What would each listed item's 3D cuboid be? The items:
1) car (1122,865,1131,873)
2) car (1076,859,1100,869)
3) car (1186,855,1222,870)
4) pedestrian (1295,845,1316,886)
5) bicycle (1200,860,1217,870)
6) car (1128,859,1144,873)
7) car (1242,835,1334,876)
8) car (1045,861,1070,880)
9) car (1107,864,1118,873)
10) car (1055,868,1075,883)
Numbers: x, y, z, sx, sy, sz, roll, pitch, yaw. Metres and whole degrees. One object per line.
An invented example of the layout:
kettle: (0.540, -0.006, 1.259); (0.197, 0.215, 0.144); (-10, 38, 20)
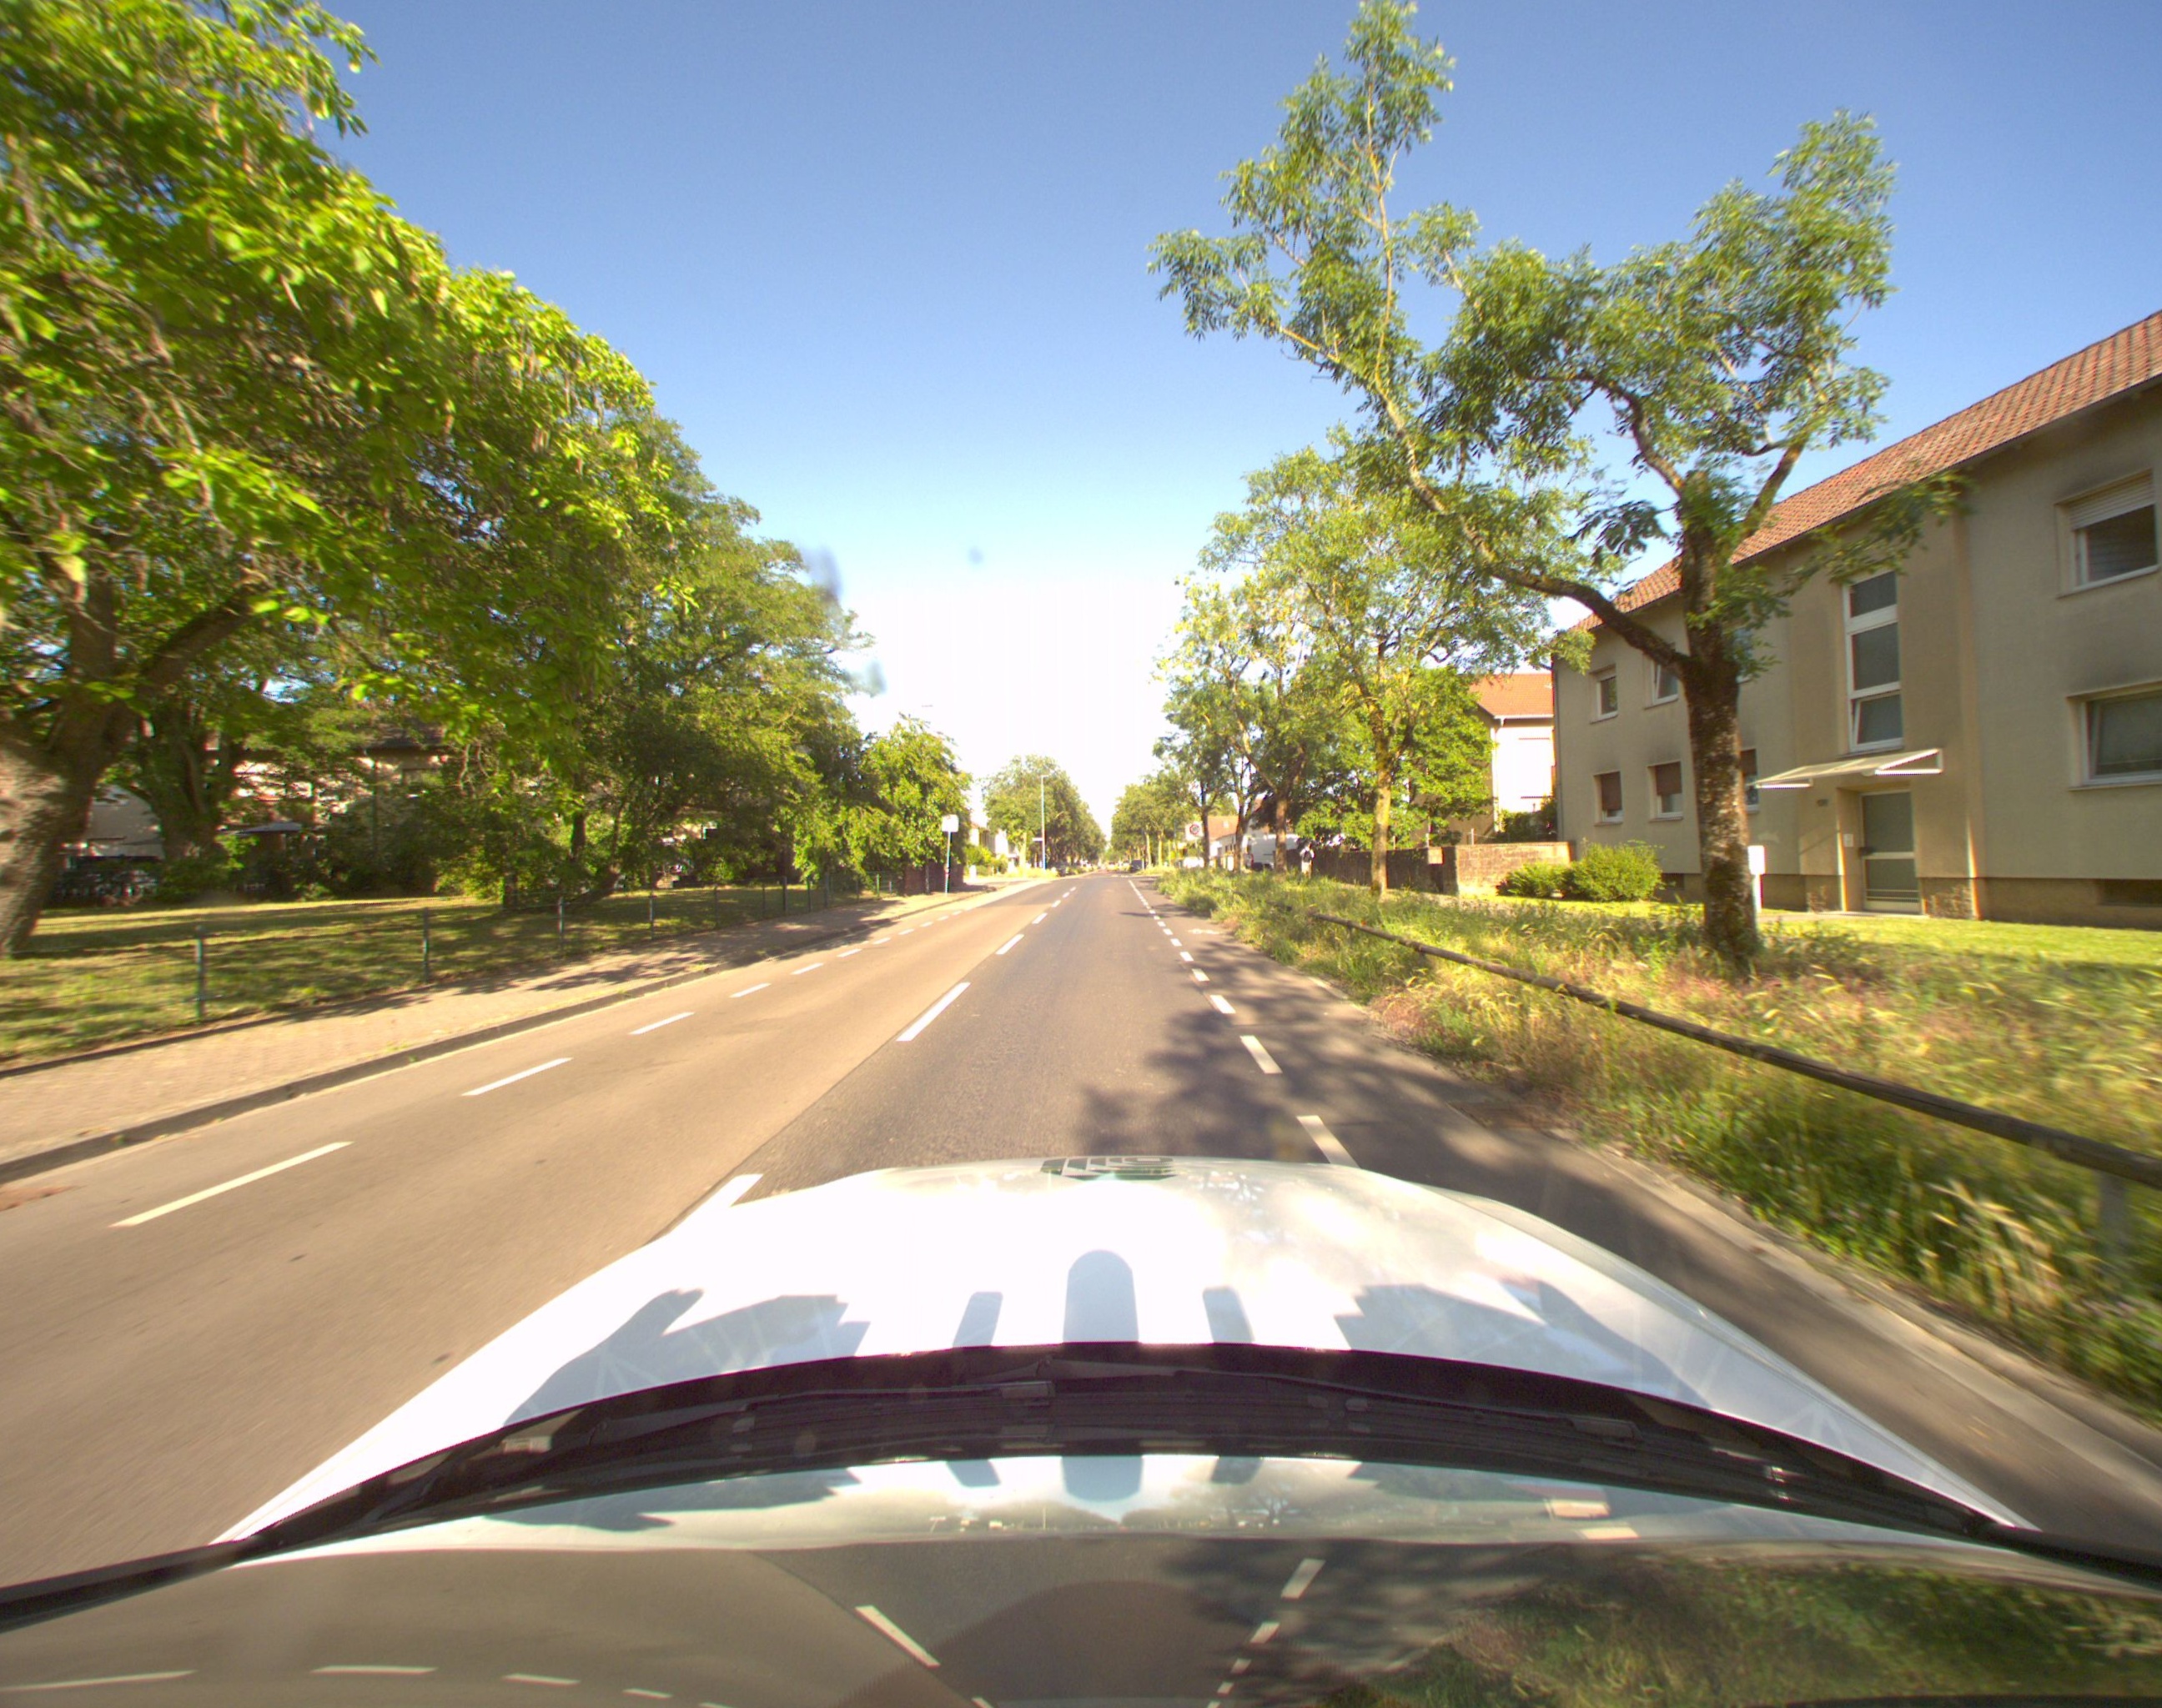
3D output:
car: (10.063, 3.286, 178.850); (1.895, 1.774, 4.303); (0, -1, 3)
car: (1.546, 2.370, 188.167); (5.480, 2.247, 2.517); (0, 0, 0)
car: (14.618, 1.041, 97.264); (3.973, 1.489, 1.902); (-3, 0, 0)
pedestrian: (9.830, 0.495, 35.671); (0.635, 1.705, 0.612); (-4, 0, 1)
bicycle: (14.916, 1.309, 95.269); (1.917, 0.998, 0.576); (-3, 0, 0)
car: (7.117, 1.593, 105.481); (1.846, 1.626, 4.471); (-3, -2, 2)
car: (13.792, 0.120, 54.531); (5.578, 2.539, 2.265); (-2, -1, -1)
car: (-2.232, 1.607, 78.655); (1.945, 1.727, 4.878); (0, -2, 3)
car: (5.516, 2.588, 142.434); (1.882, 1.479, 3.887); (1, -1, 0)
car: (-1.736, 2.410, 90.584); (1.931, 1.609, 4.386); (0, -2, 3)
